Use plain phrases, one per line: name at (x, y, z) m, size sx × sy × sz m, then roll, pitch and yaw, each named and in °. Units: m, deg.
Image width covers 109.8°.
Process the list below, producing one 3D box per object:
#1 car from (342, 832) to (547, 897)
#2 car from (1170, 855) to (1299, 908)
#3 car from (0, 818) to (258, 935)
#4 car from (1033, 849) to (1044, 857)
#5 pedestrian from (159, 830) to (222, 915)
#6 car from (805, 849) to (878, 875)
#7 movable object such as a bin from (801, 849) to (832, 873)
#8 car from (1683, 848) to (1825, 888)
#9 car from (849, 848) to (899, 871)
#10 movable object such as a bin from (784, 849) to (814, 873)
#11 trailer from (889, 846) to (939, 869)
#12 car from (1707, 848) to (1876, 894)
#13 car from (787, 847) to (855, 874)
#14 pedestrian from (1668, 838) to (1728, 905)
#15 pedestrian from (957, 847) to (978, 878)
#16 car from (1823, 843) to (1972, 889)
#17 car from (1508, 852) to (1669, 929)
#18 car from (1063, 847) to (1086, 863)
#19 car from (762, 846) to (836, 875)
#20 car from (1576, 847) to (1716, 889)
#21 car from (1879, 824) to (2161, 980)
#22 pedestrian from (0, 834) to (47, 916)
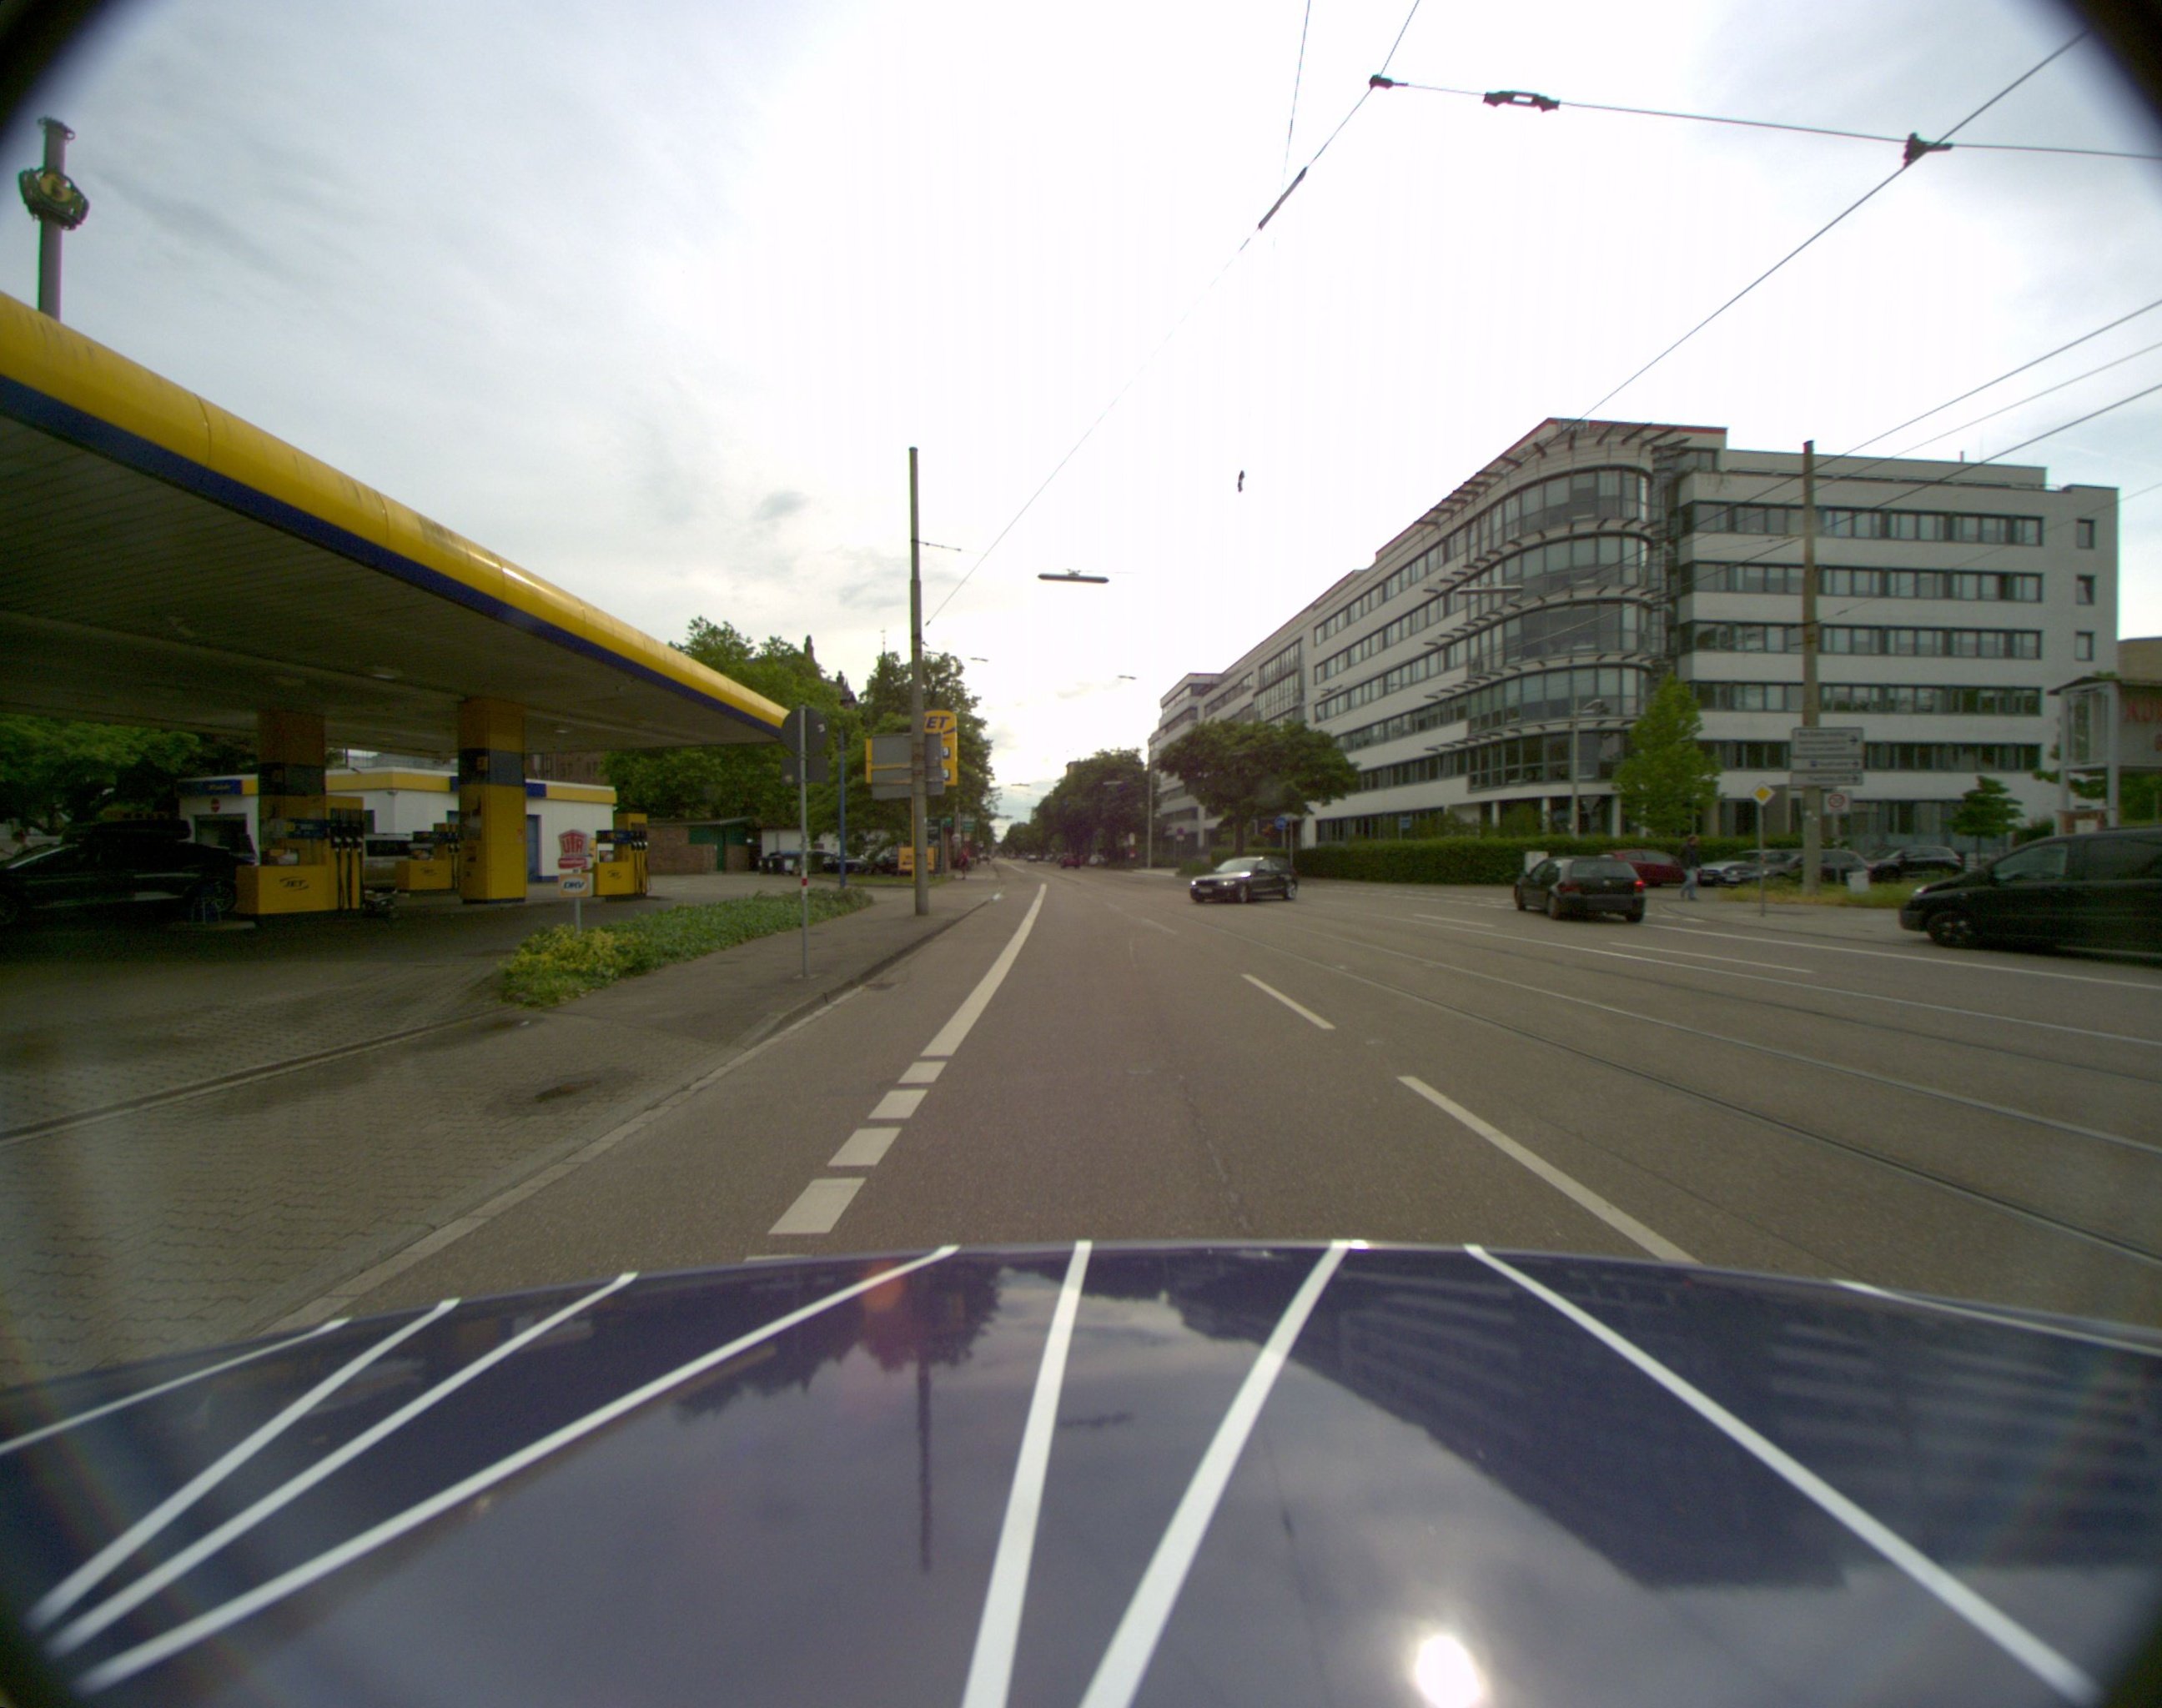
car at (-19.991, 0.324, 24.123) m, size 1.982 × 1.832 × 4.536 m, roll 2°, pitch 0°, yaw 24°
car at (4.805, 0.778, 23.447) m, size 4.121 × 1.361 × 1.783 m, roll -2°, pitch 1°, yaw -42°
car at (-18.779, 0.351, 14.152) m, size 1.820 × 1.977 × 4.259 m, roll 1°, pitch 2°, yaw 18°
car at (-8.861, -0.182, 156.711) m, size 1.802 × 1.537 × 4.476 m, roll -1°, pitch 1°, yaw -9°
pedestrian at (-19.220, 0.393, 16.399) m, size 0.706 × 1.777 × 0.628 m, roll -1°, pitch 1°, yaw 22°
car at (-14.845, 0.481, 47.294) m, size 1.822 × 1.509 × 4.007 m, roll -1°, pitch 1°, yaw 34°
movable object such as a bin at (-15.142, 0.385, 43.488) m, size 1.118 × 1.312 × 1.162 m, roll -1°, pitch 1°, yaw 28°
car at (25.122, 0.491, 28.430) m, size 4.048 × 1.341 × 1.778 m, roll -1°, pitch 1°, yaw -7°
car at (-12.405, 0.313, 45.772) m, size 1.999 × 1.281 × 3.998 m, roll -1°, pitch 1°, yaw -2°
movable object such as a bin at (-16.313, 0.379, 43.939) m, size 1.118 × 1.351 × 1.162 m, roll -1°, pitch 1°, yaw 28°
trailer at (-11.869, 0.245, 54.301) m, size 3.292 × 1.523 × 1.772 m, roll 1°, pitch 3°, yaw -6°
car at (23.442, 0.537, 25.155) m, size 3.985 × 1.443 × 1.815 m, roll 0°, pitch 1°, yaw -3°
car at (-17.615, 0.433, 51.629) m, size 3.999 × 1.657 × 1.999 m, roll -1°, pitch 1°, yaw -6°
pedestrian at (17.137, 0.463, 21.132) m, size 0.806 × 1.815 × 1.059 m, roll -1°, pitch 1°, yaw -2°
pedestrian at (-6.601, 0.489, 44.063) m, size 0.871 × 1.738 × 0.848 m, roll 2°, pitch 1°, yaw -31°
car at (31.327, 0.442, 29.216) m, size 4.000 × 1.641 × 1.998 m, roll -1°, pitch 1°, yaw -9°
car at (11.472, 0.729, 17.525) m, size 1.792 × 1.521 × 4.146 m, roll 2°, pitch 1°, yaw 15°
car at (-0.695, 0.092, 82.232) m, size 1.848 × 1.714 × 4.403 m, roll -1°, pitch 1°, yaw -9°
car at (-17.591, 0.370, 47.536) m, size 1.807 × 1.686 × 4.033 m, roll -1°, pitch 1°, yaw 30°
car at (20.792, 0.516, 28.030) m, size 4.018 × 1.413 × 1.725 m, roll -1°, pitch -1°, yaw -6°
car at (15.004, 0.597, 10.638) m, size 1.992 × 2.002 × 5.182 m, roll -2°, pitch 1°, yaw -4°
pedestrian at (-24.158, 0.469, 17.076) m, size 0.602 × 1.808 × 0.972 m, roll 0°, pitch -2°, yaw 42°
